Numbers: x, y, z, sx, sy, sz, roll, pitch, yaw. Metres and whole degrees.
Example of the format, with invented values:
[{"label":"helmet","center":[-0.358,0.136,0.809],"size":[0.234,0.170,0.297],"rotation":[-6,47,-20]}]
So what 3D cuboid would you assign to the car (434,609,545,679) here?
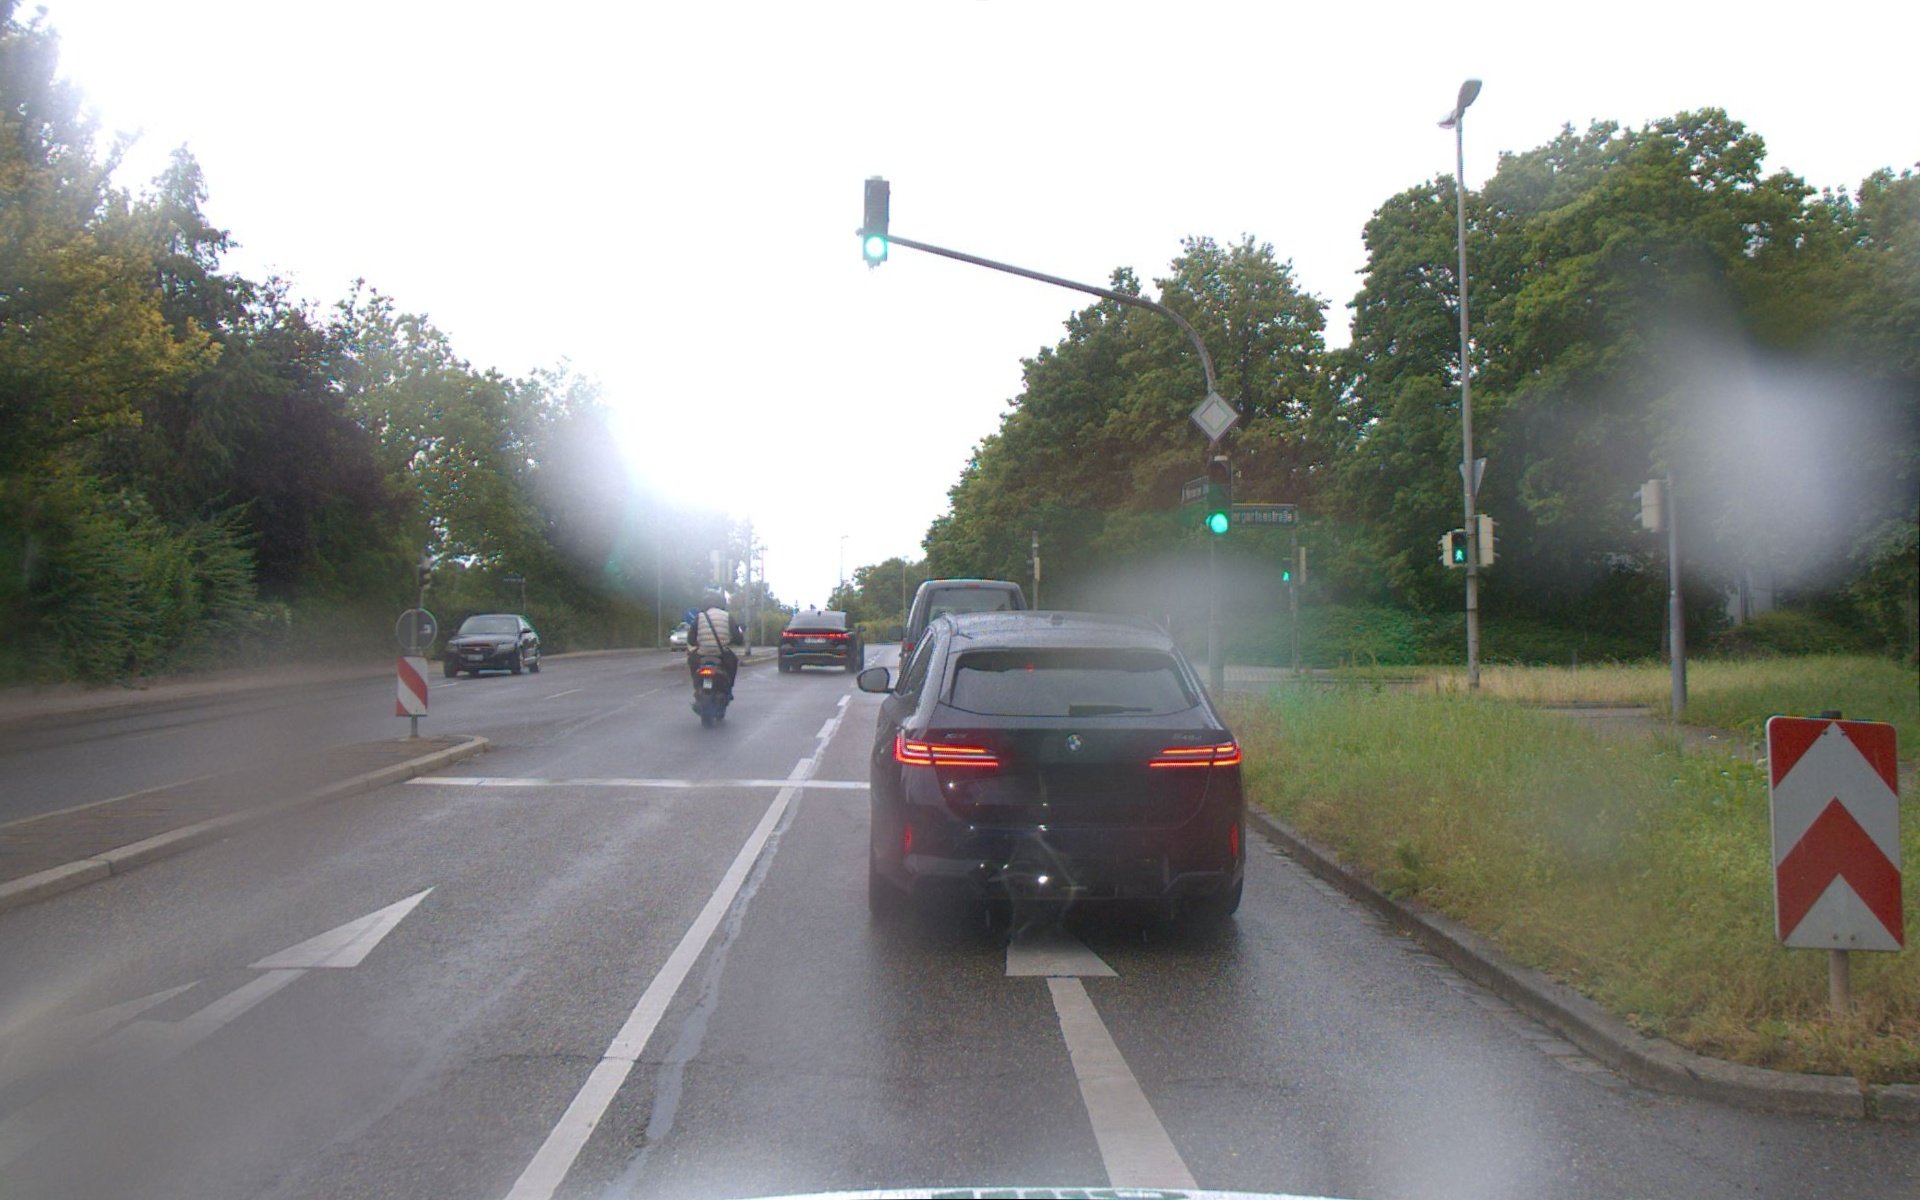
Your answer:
[{"label":"car","center":[-11.064,1.002,39.125],"size":[1.827,1.519,3.829],"rotation":[-1,0,-6]}]

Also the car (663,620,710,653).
[{"label":"car","center":[-13.447,1.790,81.575],"size":[1.693,1.511,4.155],"rotation":[-2,0,-2]}]

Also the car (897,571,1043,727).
[{"label":"car","center":[0.091,0.579,21.762],"size":[1.731,1.841,3.904],"rotation":[1,0,-1]}]

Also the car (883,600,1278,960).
[{"label":"car","center":[0.504,0.796,9.135],"size":[1.728,1.563,3.672],"rotation":[1,0,-1]}]

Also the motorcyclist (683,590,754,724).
[{"label":"motorcyclist","center":[-3.058,0.720,20.981],"size":[0.828,1.676,0.467],"rotation":[0,0,-1]}]

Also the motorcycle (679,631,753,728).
[{"label":"motorcycle","center":[-3.069,0.984,20.913],"size":[0.726,1.139,1.426],"rotation":[1,0,-1]}]

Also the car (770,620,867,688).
[{"label":"car","center":[-3.308,1.239,39.491],"size":[1.974,1.440,4.485],"rotation":[1,0,-1]}]
